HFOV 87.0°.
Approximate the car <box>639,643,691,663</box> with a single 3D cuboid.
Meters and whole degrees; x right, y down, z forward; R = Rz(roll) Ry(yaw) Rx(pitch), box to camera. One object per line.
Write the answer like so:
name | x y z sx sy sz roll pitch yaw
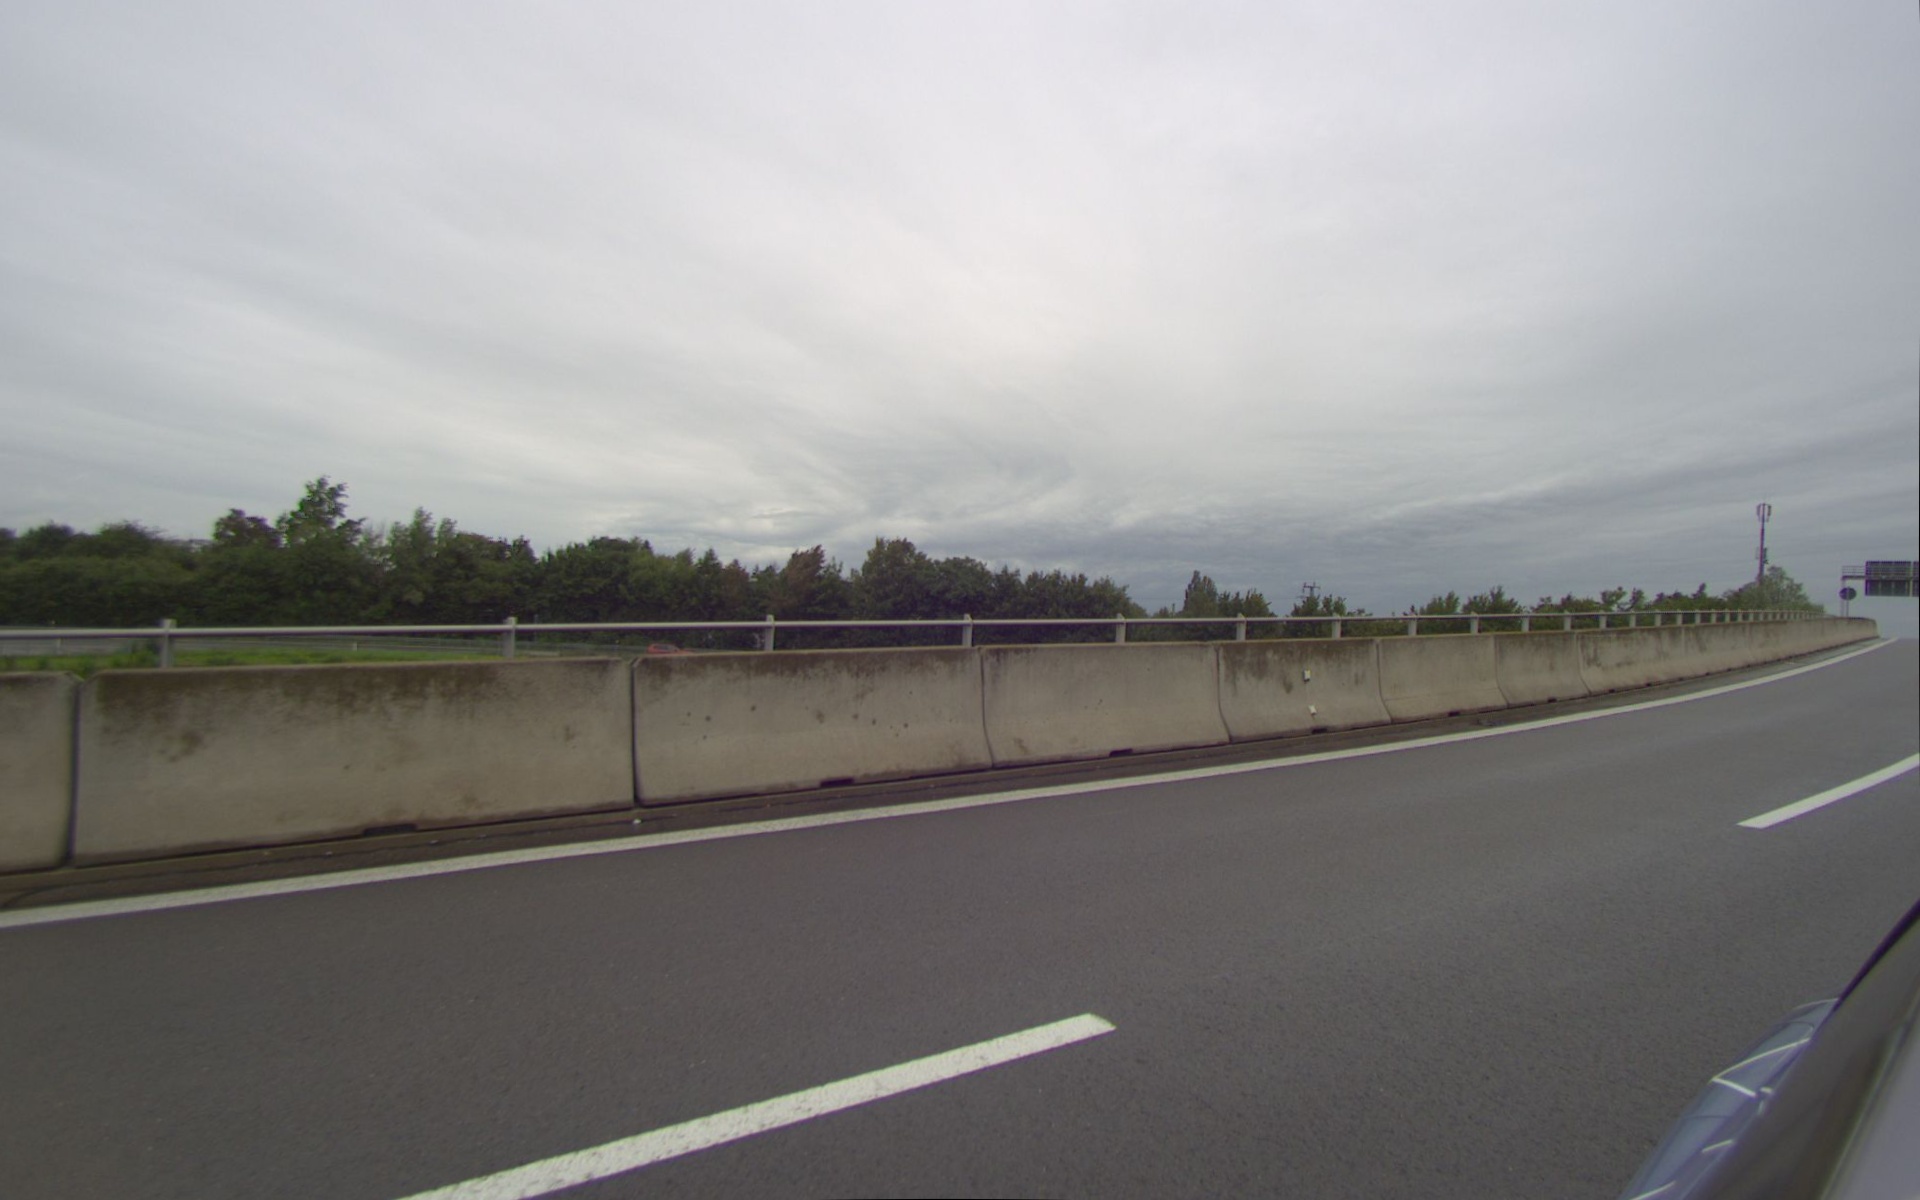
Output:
car | -28.710 5.160 98.559 4.441 1.622 1.716 -2 1 2
